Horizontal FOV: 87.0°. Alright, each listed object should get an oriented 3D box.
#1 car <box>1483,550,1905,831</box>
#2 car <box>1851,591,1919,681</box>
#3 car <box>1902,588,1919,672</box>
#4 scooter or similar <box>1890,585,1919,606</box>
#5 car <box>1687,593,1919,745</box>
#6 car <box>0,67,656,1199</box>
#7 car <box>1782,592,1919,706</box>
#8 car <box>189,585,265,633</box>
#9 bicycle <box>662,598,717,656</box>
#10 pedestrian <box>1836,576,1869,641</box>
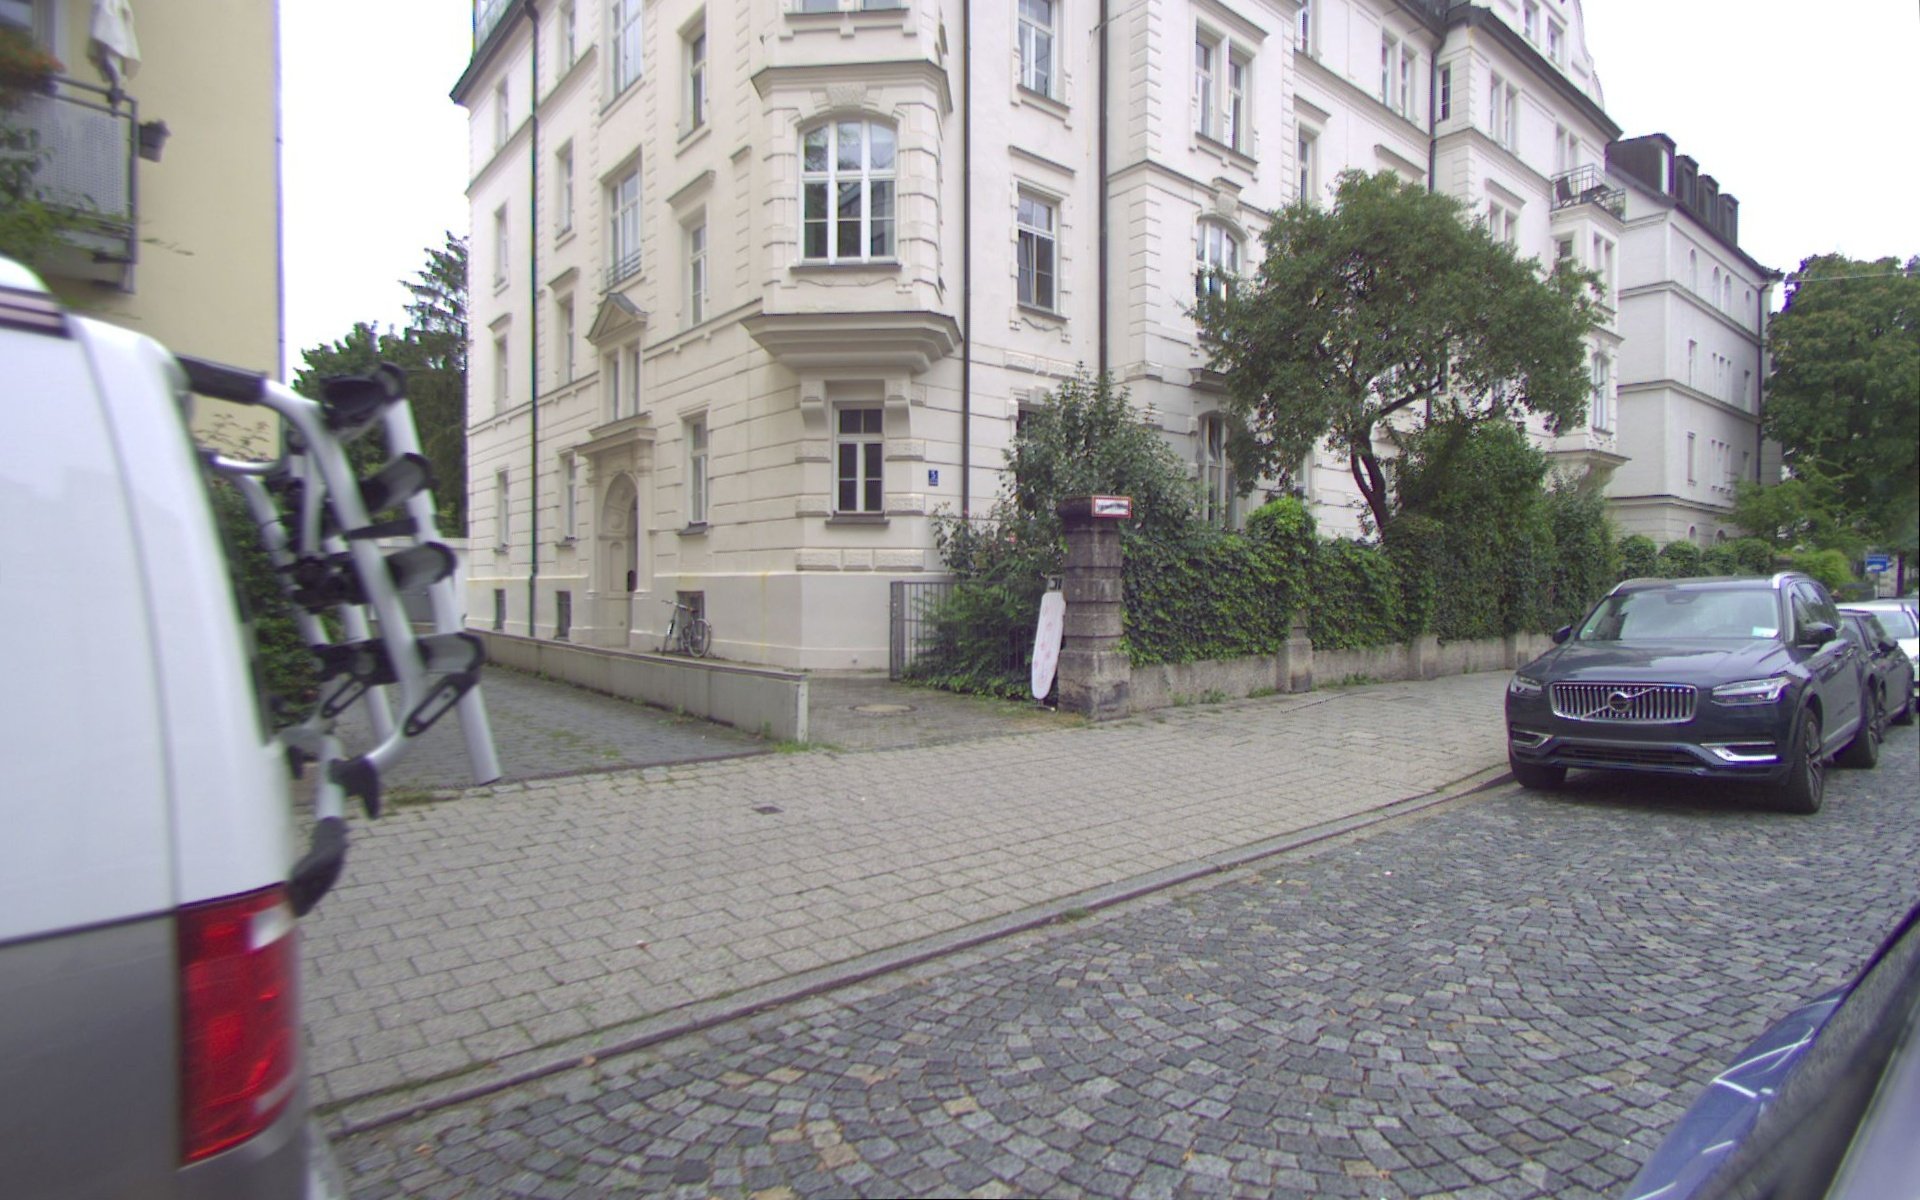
[{"bbox_3d":[6.538,0.526,8.765,4.869,1.781,1.966,-1,1,-42],"label":"car"},{"bbox_3d":[17.873,0.599,18.676,4.179,1.501,1.710,-1,-1,-43],"label":"car"},{"bbox_3d":[22.192,0.596,22.052,5.395,1.693,1.878,-1,1,-41],"label":"car"},{"bbox_3d":[54.681,-0.260,58.299,0.396,1.187,1.612,0,2,-17],"label":"scooter or similar"},{"bbox_3d":[10.162,0.690,11.980,3.898,1.471,1.685,-1,0,-42],"label":"car"},{"bbox_3d":[-2.849,0.461,0.648,4.776,1.974,1.802,-1,-2,-42],"label":"car"},{"bbox_3d":[13.714,0.627,15.115,4.319,1.447,1.775,-1,1,-44],"label":"car"},{"bbox_3d":[-24.786,0.261,34.178,1.728,1.517,3.469,-1,1,-42],"label":"car"},{"bbox_3d":[-4.925,0.464,18.384,0.408,0.998,1.482,-1,1,-39],"label":"bicycle"},{"bbox_3d":[26.234,0.230,29.752,0.668,1.873,0.578,-1,0,-33],"label":"pedestrian"}]
